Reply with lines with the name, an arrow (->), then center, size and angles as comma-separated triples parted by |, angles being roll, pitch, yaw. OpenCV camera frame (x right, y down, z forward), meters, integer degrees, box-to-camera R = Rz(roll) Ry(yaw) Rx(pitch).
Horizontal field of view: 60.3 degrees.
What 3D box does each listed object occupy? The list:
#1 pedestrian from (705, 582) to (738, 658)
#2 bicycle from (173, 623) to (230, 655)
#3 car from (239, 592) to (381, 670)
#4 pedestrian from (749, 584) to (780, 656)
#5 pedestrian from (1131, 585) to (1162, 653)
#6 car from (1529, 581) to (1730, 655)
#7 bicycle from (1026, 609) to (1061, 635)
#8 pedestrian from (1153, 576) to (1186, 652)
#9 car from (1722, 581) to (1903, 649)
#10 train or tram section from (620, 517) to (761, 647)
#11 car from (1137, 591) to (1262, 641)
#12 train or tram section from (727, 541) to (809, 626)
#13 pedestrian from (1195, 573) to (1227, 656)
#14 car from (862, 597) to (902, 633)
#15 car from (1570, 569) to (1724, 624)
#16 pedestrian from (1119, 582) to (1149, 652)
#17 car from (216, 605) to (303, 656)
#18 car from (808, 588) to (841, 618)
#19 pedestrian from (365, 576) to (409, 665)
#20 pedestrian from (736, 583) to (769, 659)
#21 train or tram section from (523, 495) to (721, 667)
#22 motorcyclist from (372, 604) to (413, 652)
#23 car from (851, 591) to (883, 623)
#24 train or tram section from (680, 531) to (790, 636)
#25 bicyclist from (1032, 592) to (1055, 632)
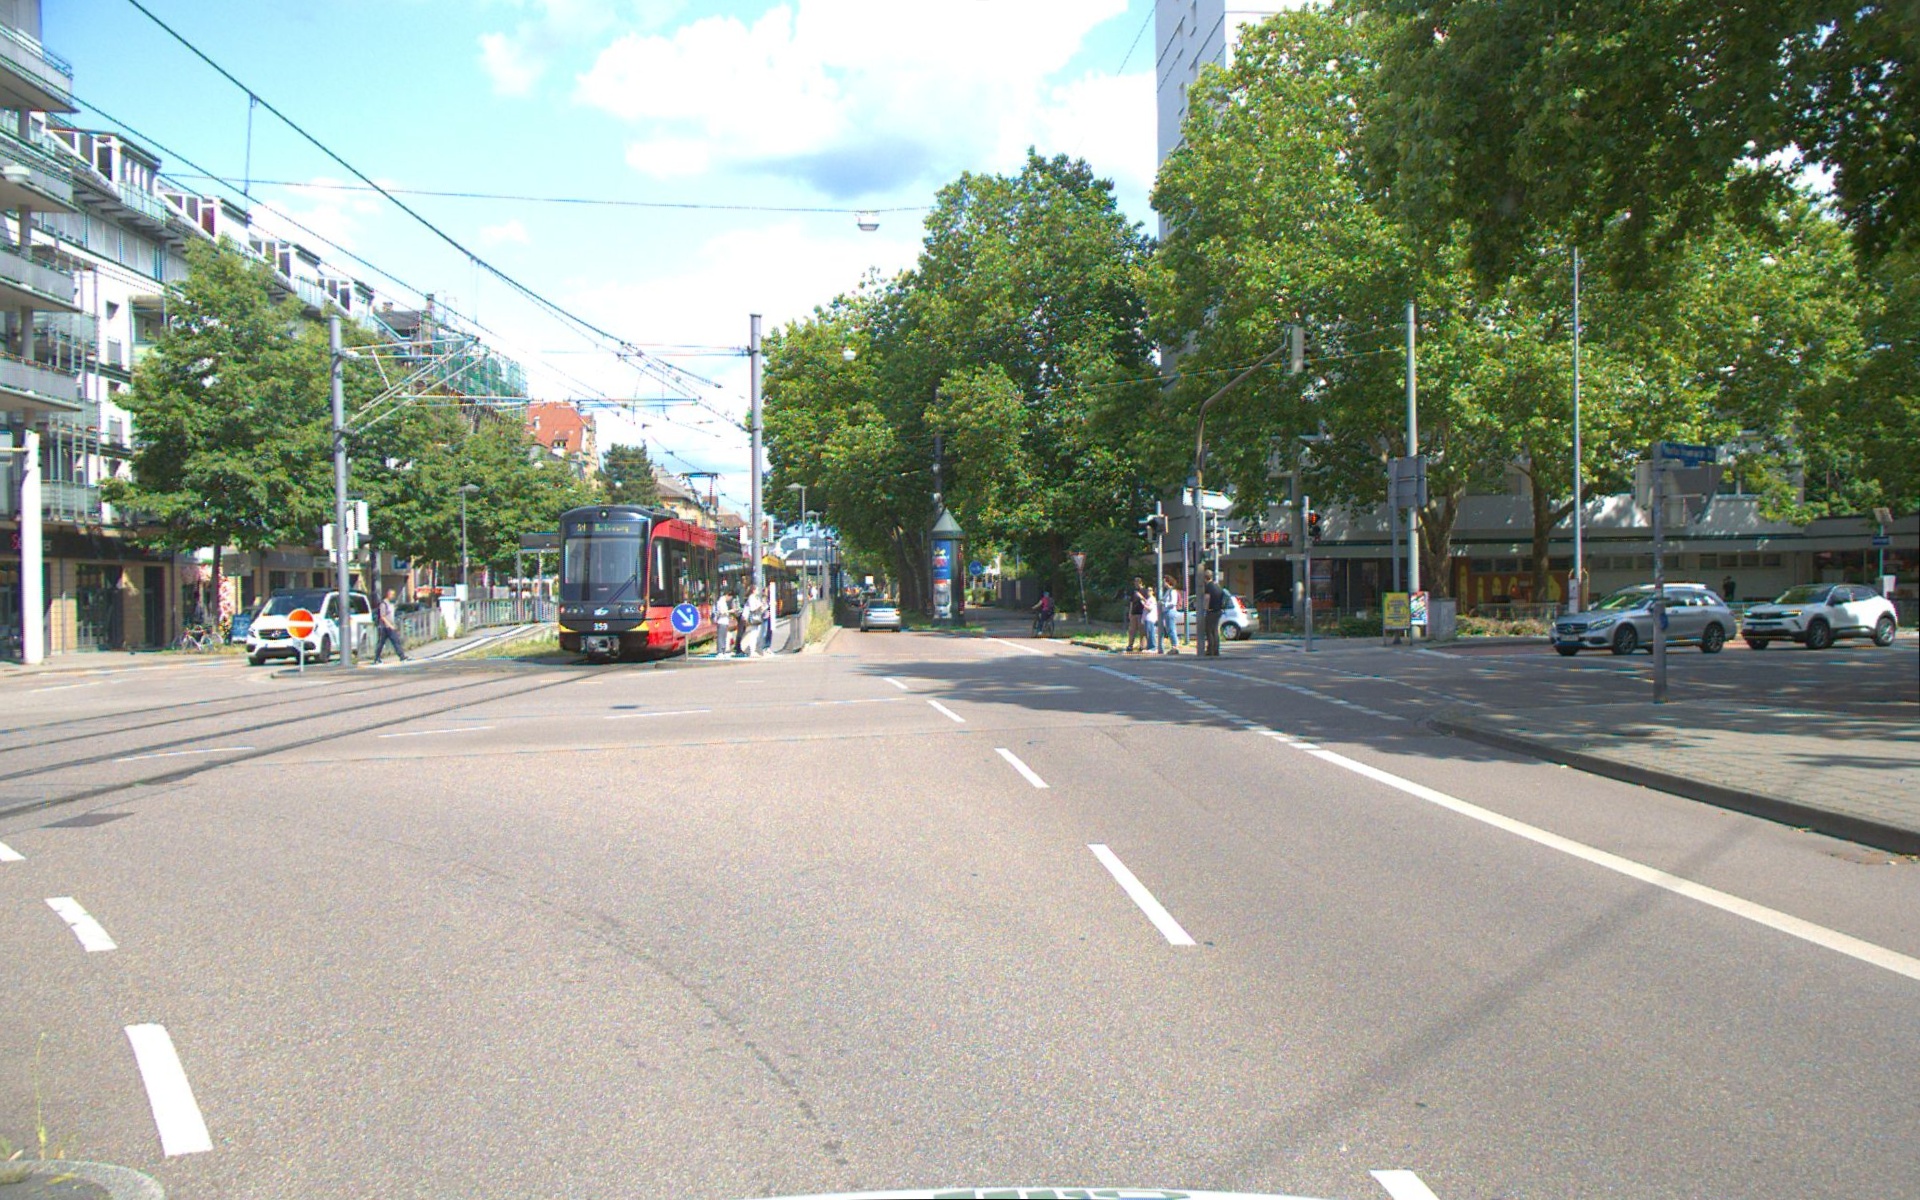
pedestrian -> -5.556, 0.457, 38.536 | 0.656, 1.732, 0.648 | -1, 0, -1
bicycle -> -25.453, 1.313, 55.499 | 1.656, 1.003, 0.497 | -1, 0, -7
car -> -17.236, 0.764, 44.135 | 1.954, 1.924, 5.168 | -1, 0, -3
pedestrian -> -4.782, 0.478, 40.511 | 0.656, 1.732, 0.648 | -1, 0, -1
pedestrian -> 4.520, 0.448, 40.128 | 0.504, 1.625, 0.552 | -1, 0, -25
car -> 14.889, 0.370, 36.807 | 3.929, 1.516, 1.850 | -1, 0, -21
bicycle -> 3.011, 0.792, 59.754 | 0.605, 0.895, 2.529 | -1, 0, -12
pedestrian -> 4.912, 0.330, 38.759 | 0.520, 1.766, 0.552 | -1, 0, -25
car -> 20.508, 0.338, 39.781 | 4.011, 1.516, 1.846 | -1, 0, -26
train or tram section -> -8.319, -0.537, 52.469 | 2.749, 3.623, 11.179 | -1, 0, -1
car -> 7.638, 0.516, 52.715 | 3.586, 1.510, 1.736 | -1, 0, 23
train or tram section -> -8.576, -0.735, 74.669 | 2.710, 3.543, 8.905 | -1, 0, -1
pedestrian -> 5.653, 0.331, 37.281 | 0.472, 1.857, 0.554 | -1, 0, 39
car -> -3.465, 0.653, 73.413 | 1.713, 1.478, 3.603 | -1, 0, -3
car -> 20.164, -0.109, 48.633 | 3.759, 1.516, 1.861 | -1, 0, -1
pedestrian -> 4.280, 0.407, 40.643 | 0.504, 1.700, 0.552 | -1, 0, -25
car -> -26.324, 1.116, 62.289 | 1.810, 1.821, 3.996 | 1, 0, -4
car -> -8.504, 0.183, 103.886 | 1.778, 1.836, 3.999 | -1, 0, -1
pedestrian -> -13.339, 0.466, 38.528 | 0.723, 2.049, 0.704 | -1, 0, 2
pedestrian -> -4.821, 0.477, 38.480 | 0.656, 1.732, 0.648 | -1, 0, -1
train or tram section -> -8.079, -0.447, 41.177 | 2.739, 3.623, 11.374 | -1, 0, -1
motorcyclist -> -17.296, 0.855, 50.446 | 0.876, 1.428, 1.087 | -1, 0, -3
car -> -5.951, 0.438, 105.735 | 1.954, 2.049, 3.996 | 0, 0, -4
train or tram section -> -8.509, -0.630, 64.109 | 2.749, 3.623, 12.154 | -1, 0, -1
bicyclist -> 3.008, 0.426, 59.751 | 0.605, 1.409, 0.876 | -1, 0, -13
